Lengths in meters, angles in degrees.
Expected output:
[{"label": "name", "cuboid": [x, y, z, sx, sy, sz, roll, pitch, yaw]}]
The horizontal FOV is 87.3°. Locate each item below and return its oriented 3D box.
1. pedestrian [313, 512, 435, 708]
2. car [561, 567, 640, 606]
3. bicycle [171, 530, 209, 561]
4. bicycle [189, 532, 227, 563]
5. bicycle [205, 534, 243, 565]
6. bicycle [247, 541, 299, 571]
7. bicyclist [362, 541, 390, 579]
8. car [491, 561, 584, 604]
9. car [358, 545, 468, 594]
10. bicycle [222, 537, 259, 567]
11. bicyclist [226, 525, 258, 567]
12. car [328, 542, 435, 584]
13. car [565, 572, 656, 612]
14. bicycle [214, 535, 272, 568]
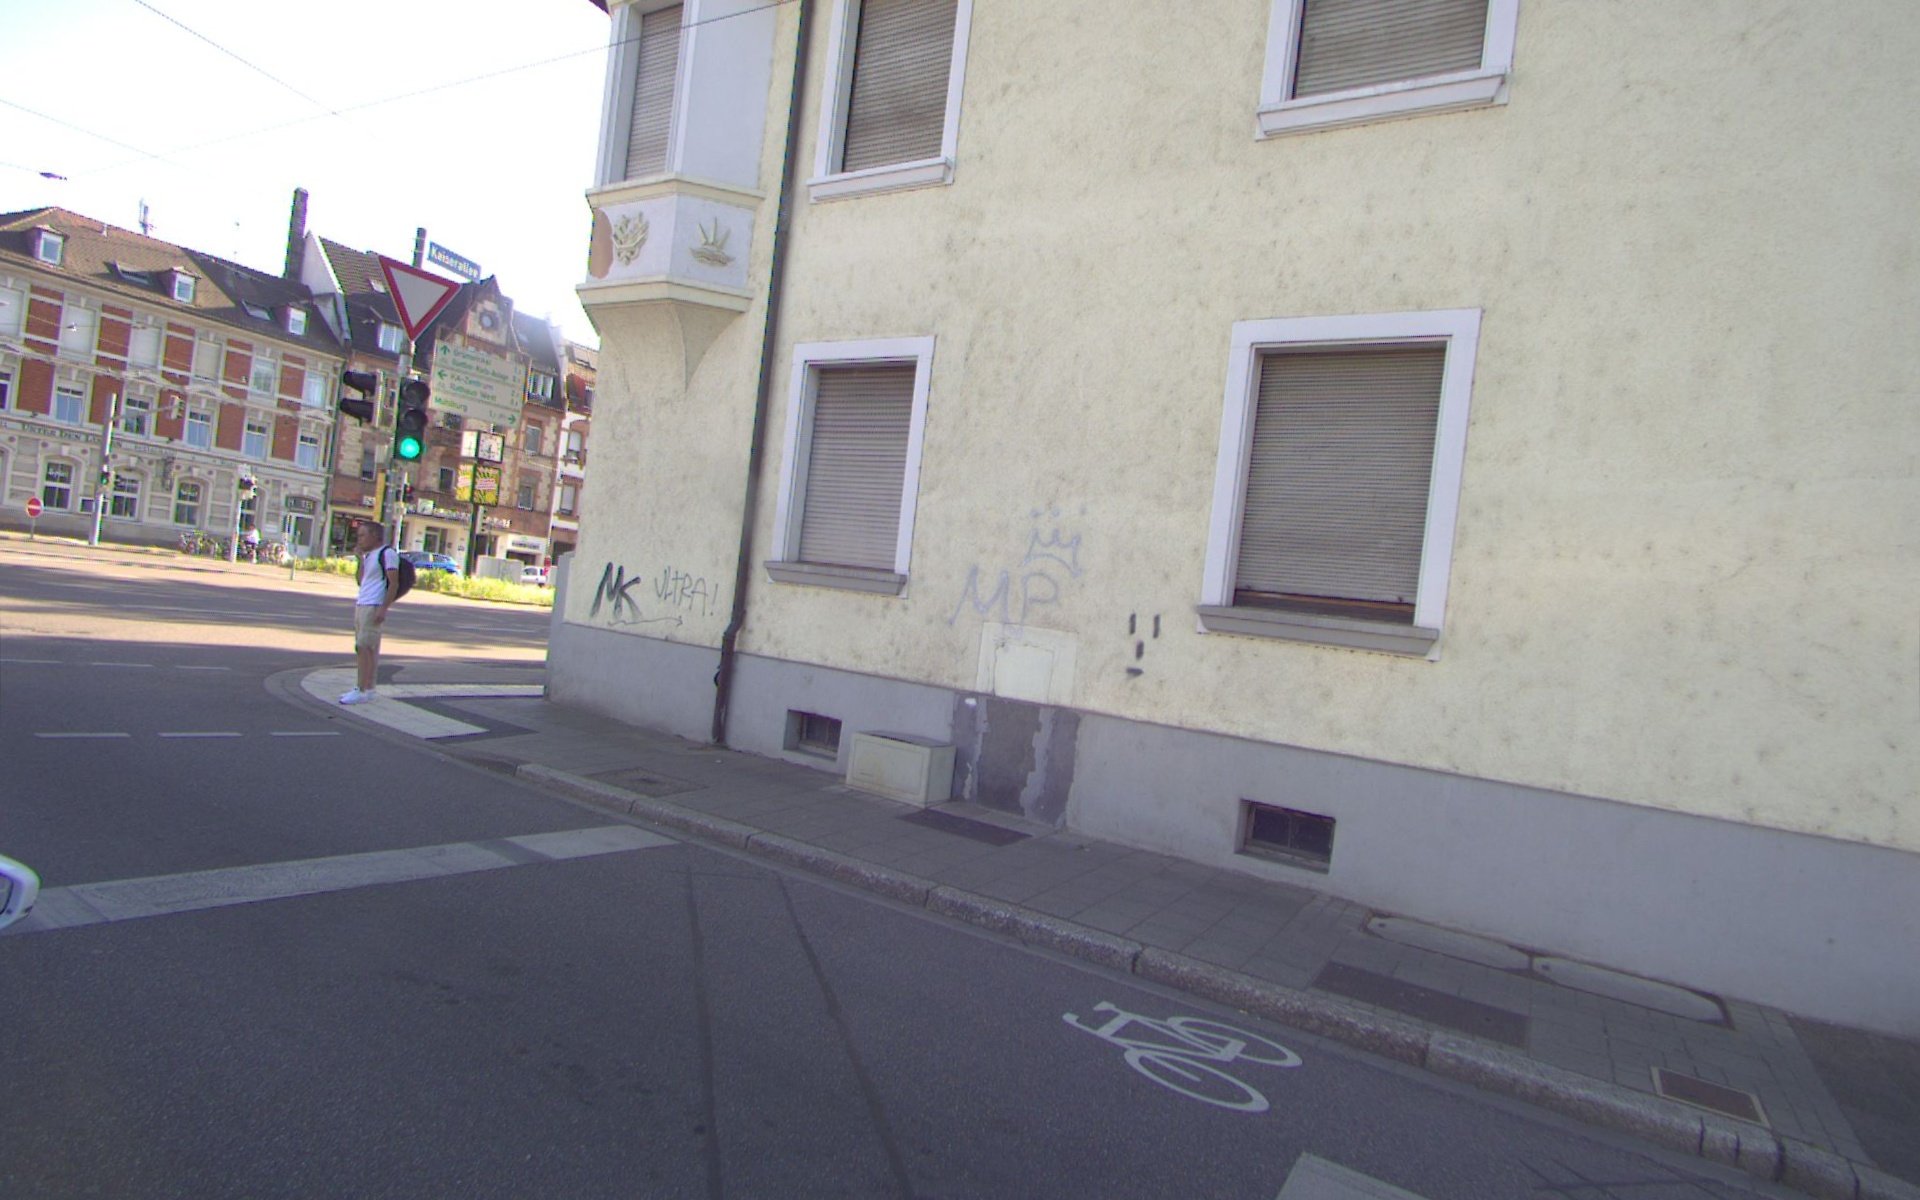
[{"label": "pedestrian", "cuboid": [-5.611, 0.092, 9.663, 0.661, 1.764, 0.689, 5, 2, 2]}, {"label": "car", "cuboid": [-23.236, -0.842, 65.190, 1.922, 1.988, 4.411, 7, -1, 31]}, {"label": "bicycle", "cuboid": [-34.881, -2.481, 45.576, 1.935, 1.205, 0.678, 7, 0, 33]}, {"label": "bicycle", "cuboid": [-34.541, -2.396, 46.190, 1.935, 1.205, 0.678, 7, 0, 33]}, {"label": "bicycle", "cuboid": [-34.202, -2.358, 46.746, 1.935, 1.205, 0.678, 7, 0, 33]}, {"label": "bicycle", "cuboid": [-32.879, -2.092, 48.171, 0.667, 1.205, 1.968, 7, -1, 20]}, {"label": "bicyclist", "cuboid": [-29.615, -2.002, 51.027, 0.591, 1.785, 0.905, 7, 0, 27]}, {"label": "car", "cuboid": [-21.917, -0.902, 52.339, 1.922, 1.688, 3.993, 7, -1, 31]}, {"label": "car", "cuboid": [-25.400, -1.380, 46.835, 1.922, 1.688, 3.993, 7, -1, 31]}, {"label": "bicycle", "cuboid": [-33.847, -2.280, 47.319, 1.935, 1.205, 0.678, 7, 0, 33]}, {"label": "bicyclist", "cuboid": [-32.398, -2.431, 45.406, 0.592, 1.785, 0.873, 7, 0, 34]}, {"label": "car", "cuboid": [-27.826, -1.741, 48.472, 1.815, 1.429, 3.993, 7, -1, 31]}, {"label": "car", "cuboid": [-19.524, -0.411, 56.392, 1.922, 1.688, 4.480, 7, -1, 31]}, {"label": "bicycle", "cuboid": [-32.393, -2.191, 45.461, 0.592, 1.205, 1.962, 7, -1, 34]}]
